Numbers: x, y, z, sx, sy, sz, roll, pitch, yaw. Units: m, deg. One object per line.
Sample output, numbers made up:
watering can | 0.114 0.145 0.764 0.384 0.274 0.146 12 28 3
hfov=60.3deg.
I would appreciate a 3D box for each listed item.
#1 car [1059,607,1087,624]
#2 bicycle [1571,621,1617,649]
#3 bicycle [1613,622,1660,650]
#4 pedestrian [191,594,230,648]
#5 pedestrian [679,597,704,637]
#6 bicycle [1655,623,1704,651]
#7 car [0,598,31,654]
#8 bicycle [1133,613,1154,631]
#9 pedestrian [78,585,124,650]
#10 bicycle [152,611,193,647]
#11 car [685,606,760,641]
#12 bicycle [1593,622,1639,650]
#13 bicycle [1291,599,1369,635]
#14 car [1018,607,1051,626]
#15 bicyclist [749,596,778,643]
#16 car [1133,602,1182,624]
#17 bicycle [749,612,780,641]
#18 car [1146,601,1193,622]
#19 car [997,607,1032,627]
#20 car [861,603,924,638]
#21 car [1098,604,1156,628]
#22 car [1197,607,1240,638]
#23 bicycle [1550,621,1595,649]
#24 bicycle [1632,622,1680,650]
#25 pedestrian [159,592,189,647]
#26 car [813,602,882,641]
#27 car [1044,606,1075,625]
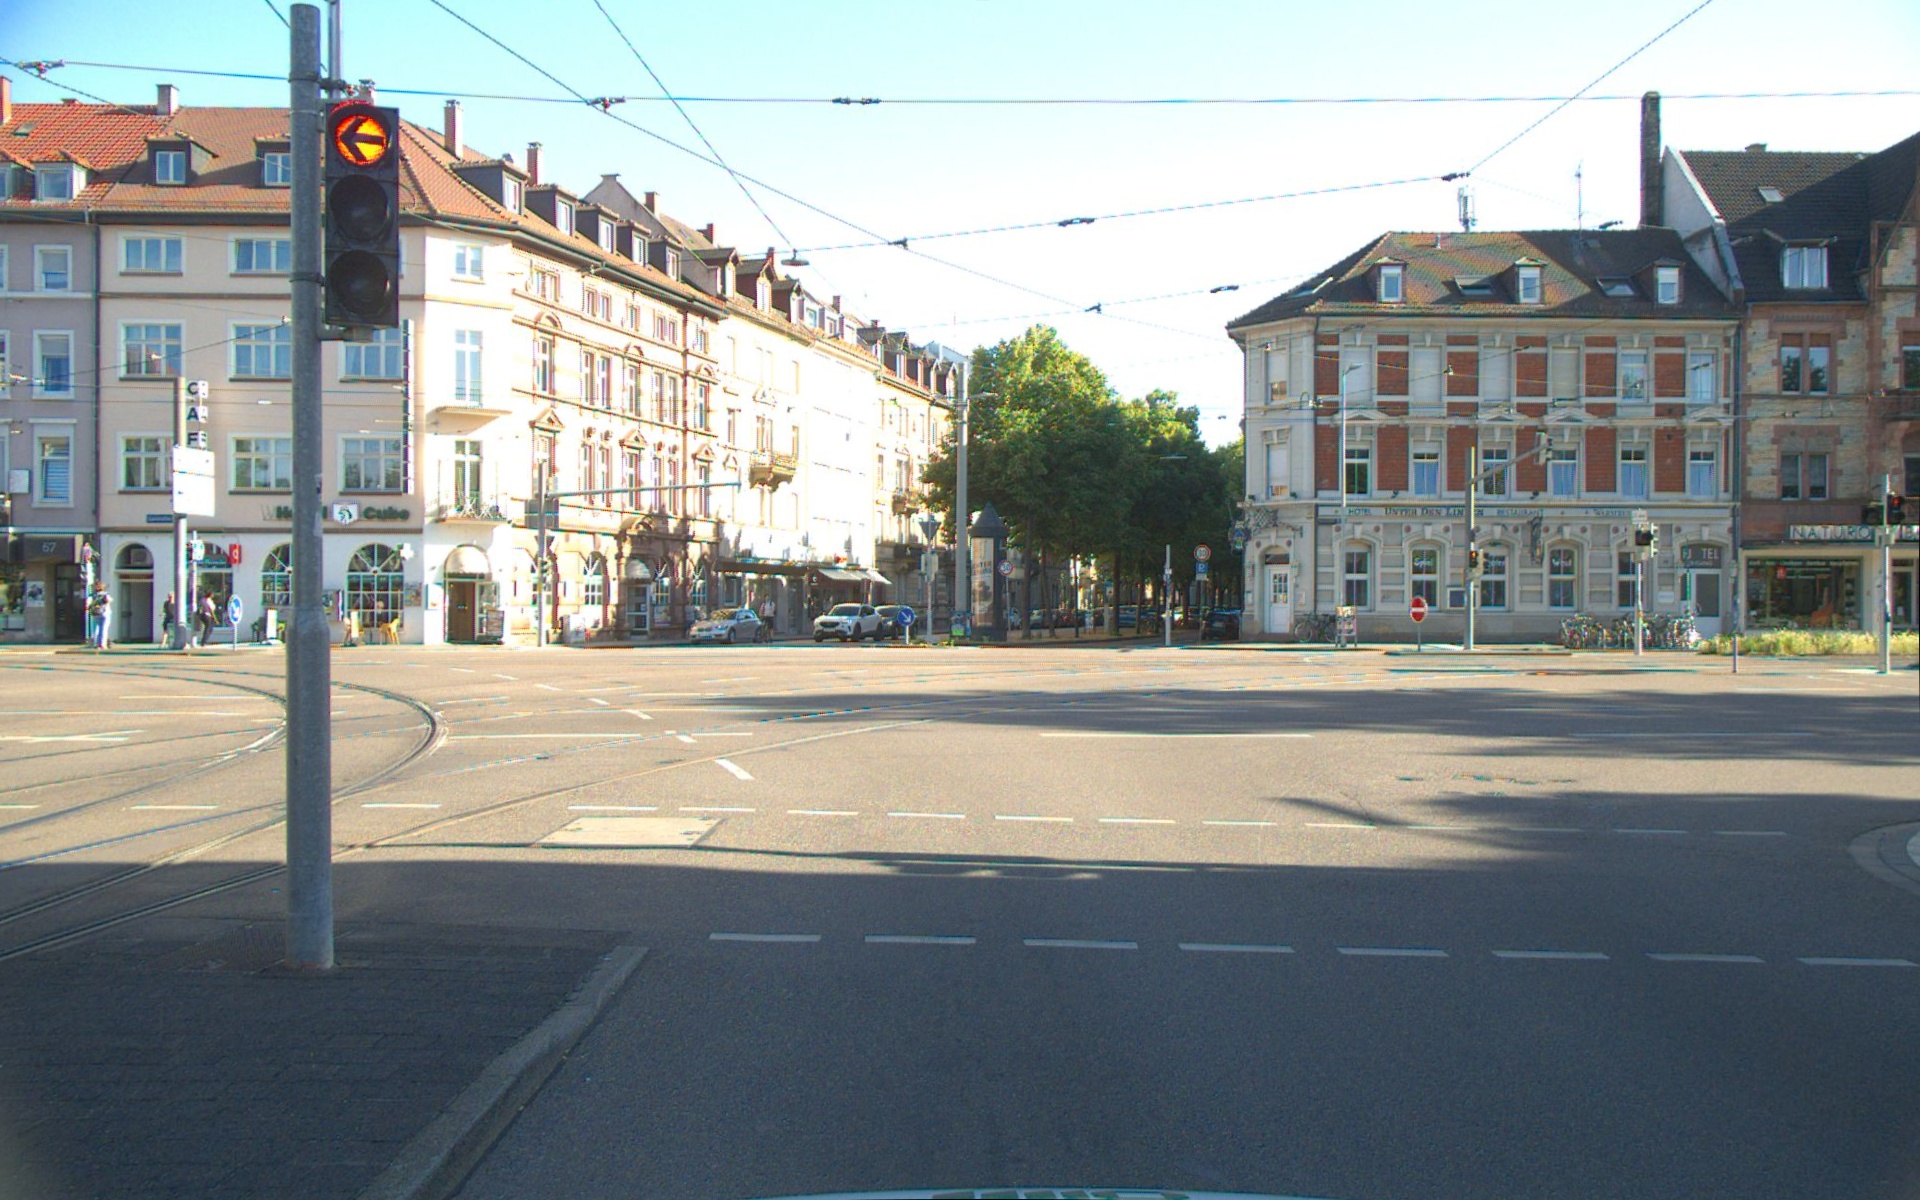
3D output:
car | 9.308 1.252 135.888 1.642 1.378 3.593 0 0 16
bicycle | 20.473 1.127 53.448 0.645 0.855 2.160 1 0 0
bicycle | 21.855 1.152 53.495 0.645 0.855 2.160 1 0 0
pedestrian | -22.560 0.629 49.802 0.715 1.605 0.828 0 -1 43
pedestrian | -11.610 0.734 71.439 0.759 1.699 0.831 1 -1 15
bicycle | 23.272 1.176 53.520 0.645 0.855 2.160 1 0 0
car | -32.160 0.776 52.249 4.276 1.741 2.306 1 0 1
bicycle | 11.043 1.298 99.620 0.625 1.039 1.840 1 0 -14
pedestrian | -21.419 0.431 41.253 0.539 1.605 0.832 1 -1 27
bicycle | -24.687 0.914 51.861 0.561 1.096 1.497 1 0 -1
car | -9.548 0.928 66.737 1.642 1.378 3.593 0 0 16
bicycle | 21.185 1.140 53.461 0.645 0.855 2.160 1 0 0
bicycle | 12.859 0.593 57.450 2.504 1.194 0.818 1 -1 -4
car | 5.524 1.220 122.494 1.642 1.378 3.593 0 0 16
bicyclist | -7.722 0.761 64.997 0.761 1.834 1.056 1 -1 13
car | 15.310 0.963 128.240 3.503 1.677 1.684 0 0 16
bicycle | -7.689 1.042 65.119 0.687 1.137 1.636 1 0 13
car | 16.932 0.889 133.739 3.503 1.677 1.684 0 0 16
car | 3.813 1.157 115.507 1.642 1.378 3.593 0 0 16
car | -2.956 0.884 73.544 1.642 1.509 3.950 0 0 16
car | 11.705 1.118 115.827 3.819 1.677 1.684 0 0 16
car | 12.950 1.109 82.742 1.642 1.509 3.950 0 0 16
bicycle | 19.753 1.114 53.360 0.645 0.855 2.160 1 0 0
bicycle | 22.483 1.162 53.474 0.645 0.855 2.160 1 0 0
pedestrian | -24.684 0.613 51.942 0.570 1.699 0.752 1 -1 -1
car | -4.543 0.840 67.219 1.642 1.509 3.774 0 0 16
car | 7.883 1.215 130.836 1.642 1.378 3.593 0 0 16
